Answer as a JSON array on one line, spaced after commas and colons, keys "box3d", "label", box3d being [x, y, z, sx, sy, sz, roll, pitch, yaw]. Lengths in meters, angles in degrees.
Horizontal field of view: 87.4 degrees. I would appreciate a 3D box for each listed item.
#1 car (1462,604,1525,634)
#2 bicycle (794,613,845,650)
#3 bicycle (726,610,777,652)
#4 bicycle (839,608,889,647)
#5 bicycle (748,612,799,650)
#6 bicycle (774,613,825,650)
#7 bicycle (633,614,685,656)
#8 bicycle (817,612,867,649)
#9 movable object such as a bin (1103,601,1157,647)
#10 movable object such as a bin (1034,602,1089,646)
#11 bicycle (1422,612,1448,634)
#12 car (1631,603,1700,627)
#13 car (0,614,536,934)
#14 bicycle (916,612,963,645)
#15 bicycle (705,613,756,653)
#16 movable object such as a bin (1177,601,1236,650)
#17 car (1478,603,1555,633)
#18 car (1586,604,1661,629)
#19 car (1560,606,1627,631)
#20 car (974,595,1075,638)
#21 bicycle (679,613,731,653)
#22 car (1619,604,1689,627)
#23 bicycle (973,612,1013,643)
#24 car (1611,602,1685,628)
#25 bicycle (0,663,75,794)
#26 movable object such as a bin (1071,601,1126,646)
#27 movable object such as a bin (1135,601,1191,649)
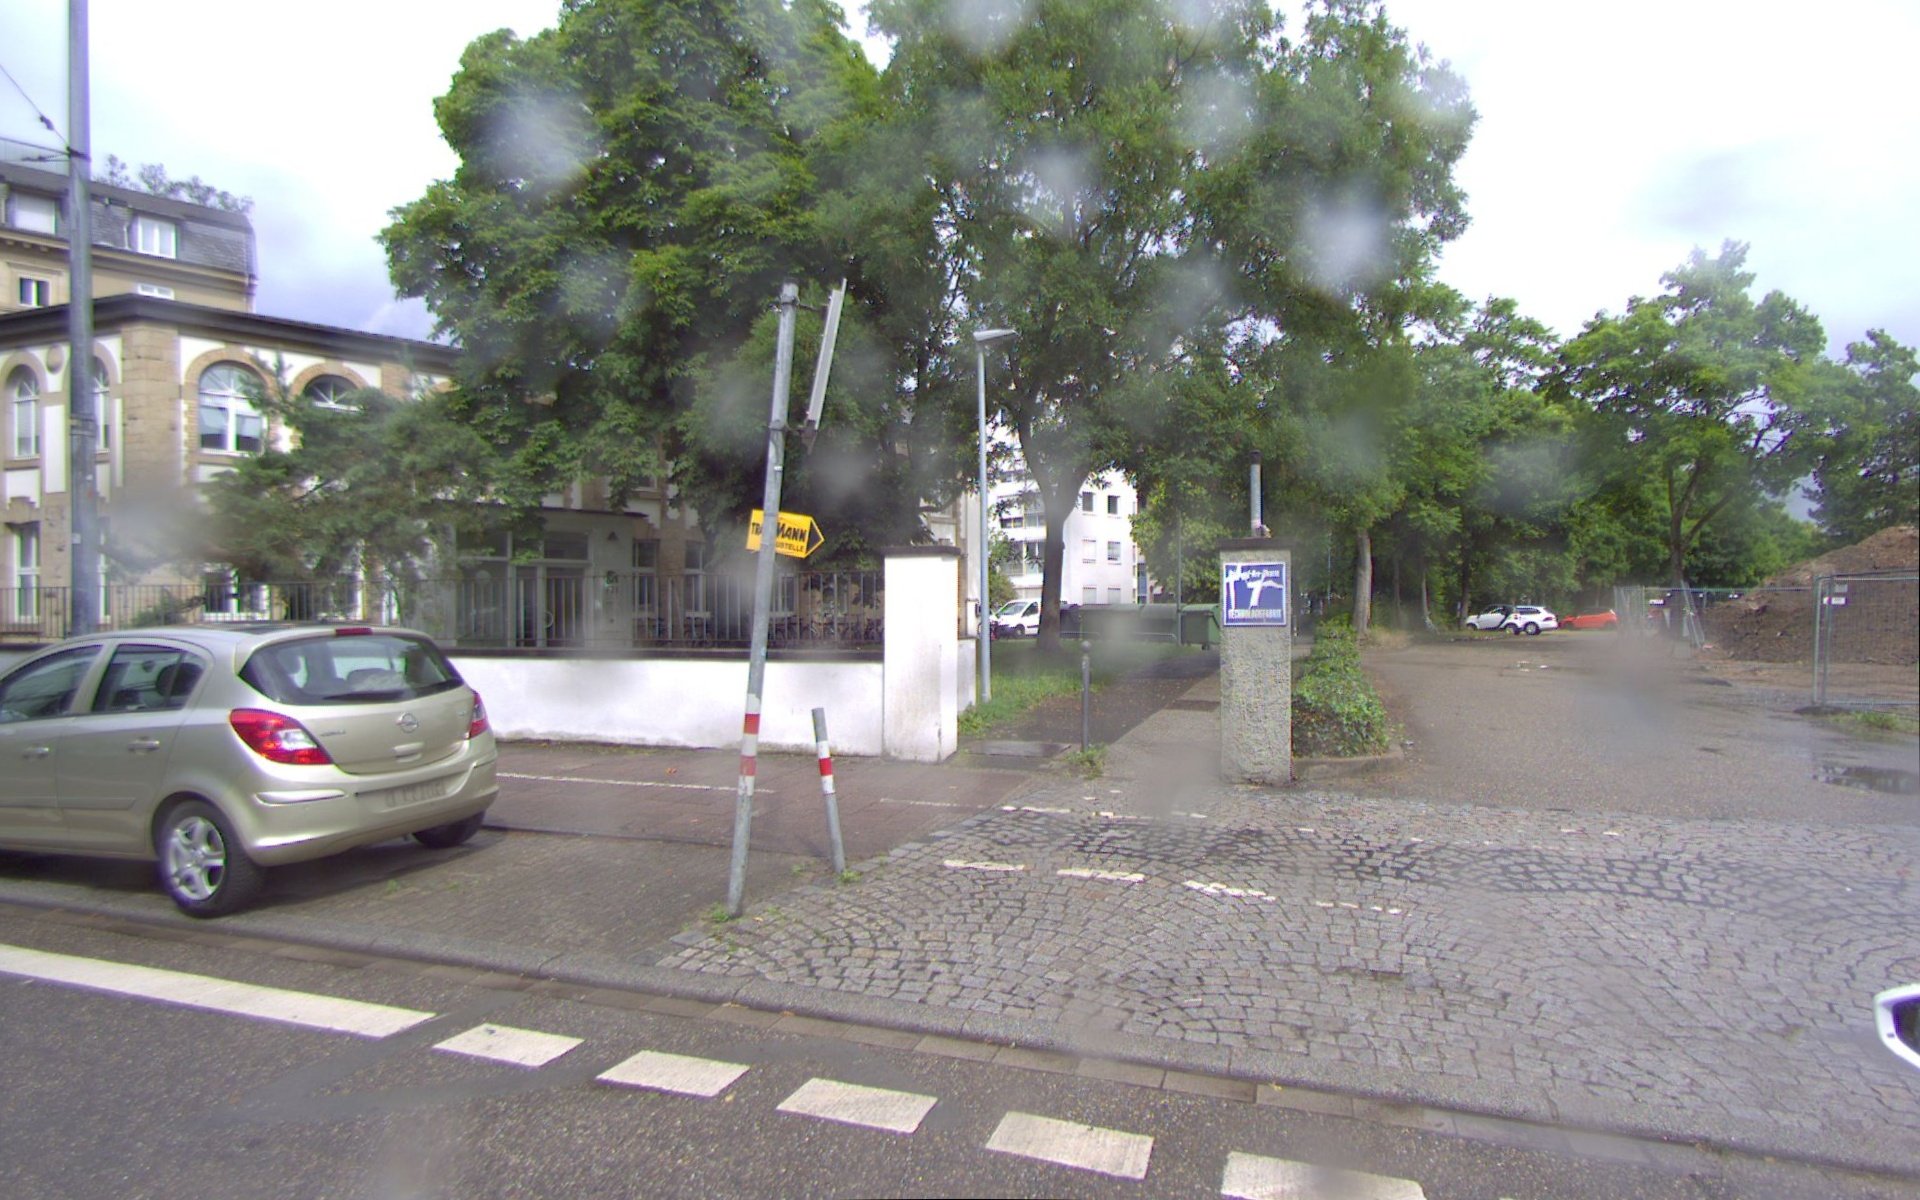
[{"box3d": [27.213, 0.960, 51.241, 2.717, 1.504, 1.588, -1, 1, 35], "label": "car"}, {"box3d": [-4.492, 0.998, 32.027, 0.613, 1.131, 1.902, -1, 0, -43], "label": "bicycle"}, {"box3d": [-6.281, 0.923, 30.248, 0.613, 1.193, 1.902, 0, 1, -43], "label": "bicycle"}, {"box3d": [-3.188, 0.902, 33.377, 0.613, 1.241, 1.902, -1, 0, -43], "label": "bicycle"}, {"box3d": [-5.743, 0.957, 30.843, 0.613, 1.131, 1.902, -1, 0, -43], "label": "bicycle"}, {"box3d": [-5.069, 0.984, 31.584, 0.613, 1.131, 1.902, -1, 0, -43], "label": "bicycle"}, {"box3d": [-8.402, 0.966, 27.981, 0.613, 1.131, 1.902, -1, 0, -43], "label": "bicycle"}, {"box3d": [-3.854, 0.992, 32.741, 0.613, 1.131, 1.902, -1, 0, -43], "label": "bicycle"}, {"box3d": [5.719, 0.792, 33.750, 1.383, 1.503, 1.161, 0, 0, 43], "label": "movable object such as a bin"}, {"box3d": [3.619, 0.849, 35.916, 1.572, 1.503, 1.162, -1, 0, 42], "label": "movable object such as a bin"}, {"box3d": [19.812, 0.952, 41.867, 1.445, 0.872, 0.471, -1, 2, -43], "label": "bicycle"}, {"box3d": [51.621, 1.085, 73.535, 3.945, 1.581, 1.753, 1, 2, 44], "label": "car"}, {"box3d": [-4.768, 0.865, 6.232, 3.757, 1.479, 1.690, -1, 1, 19], "label": "car"}, {"box3d": [-0.738, 1.030, 35.807, 0.613, 1.131, 1.766, -1, 0, -43], "label": "bicycle"}, {"box3d": [-6.828, 0.966, 29.815, 0.613, 1.131, 1.902, -1, 0, -43], "label": "bicycle"}, {"box3d": [7.764, 0.801, 31.652, 1.093, 1.492, 1.472, 1, -1, -33], "label": "movable object such as a bin"}, {"box3d": [29.144, 0.935, 52.642, 3.386, 1.488, 1.734, -1, 1, 35], "label": "car"}, {"box3d": [43.564, 1.059, 66.027, 1.895, 1.550, 3.758, -1, 2, -42], "label": "car"}, {"box3d": [39.859, 1.157, 63.259, 1.579, 1.444, 3.256, -1, 2, -40], "label": "car"}, {"box3d": [3.128, 0.817, 48.109, 4.852, 1.951, 2.074, 1, -2, -42], "label": "car"}, {"box3d": [-7.379, 0.948, 28.983, 0.613, 1.131, 1.902, -1, 0, -43], "label": "bicycle"}, {"box3d": [49.545, 1.086, 71.727, 3.899, 1.537, 1.795, 1, 2, 43], "label": "car"}, {"box3d": [1.217, 1.029, 37.745, 0.613, 1.131, 1.501, -1, 0, -43], "label": "bicycle"}, {"box3d": [47.732, 1.029, 69.712, 4.061, 1.673, 1.836, 1, 2, 42], "label": "car"}, {"box3d": [-8.321, 1.105, 7.911, 0.671, 1.000, 1.928, 1, 3, 18], "label": "bicycle"}, {"box3d": [4.808, 0.818, 34.902, 1.475, 1.503, 1.162, -1, 0, 42], "label": "movable object such as a bin"}, {"box3d": [6.605, 0.806, 32.638, 1.382, 1.503, 1.162, 2, 0, 40], "label": "movable object such as a bin"}]
